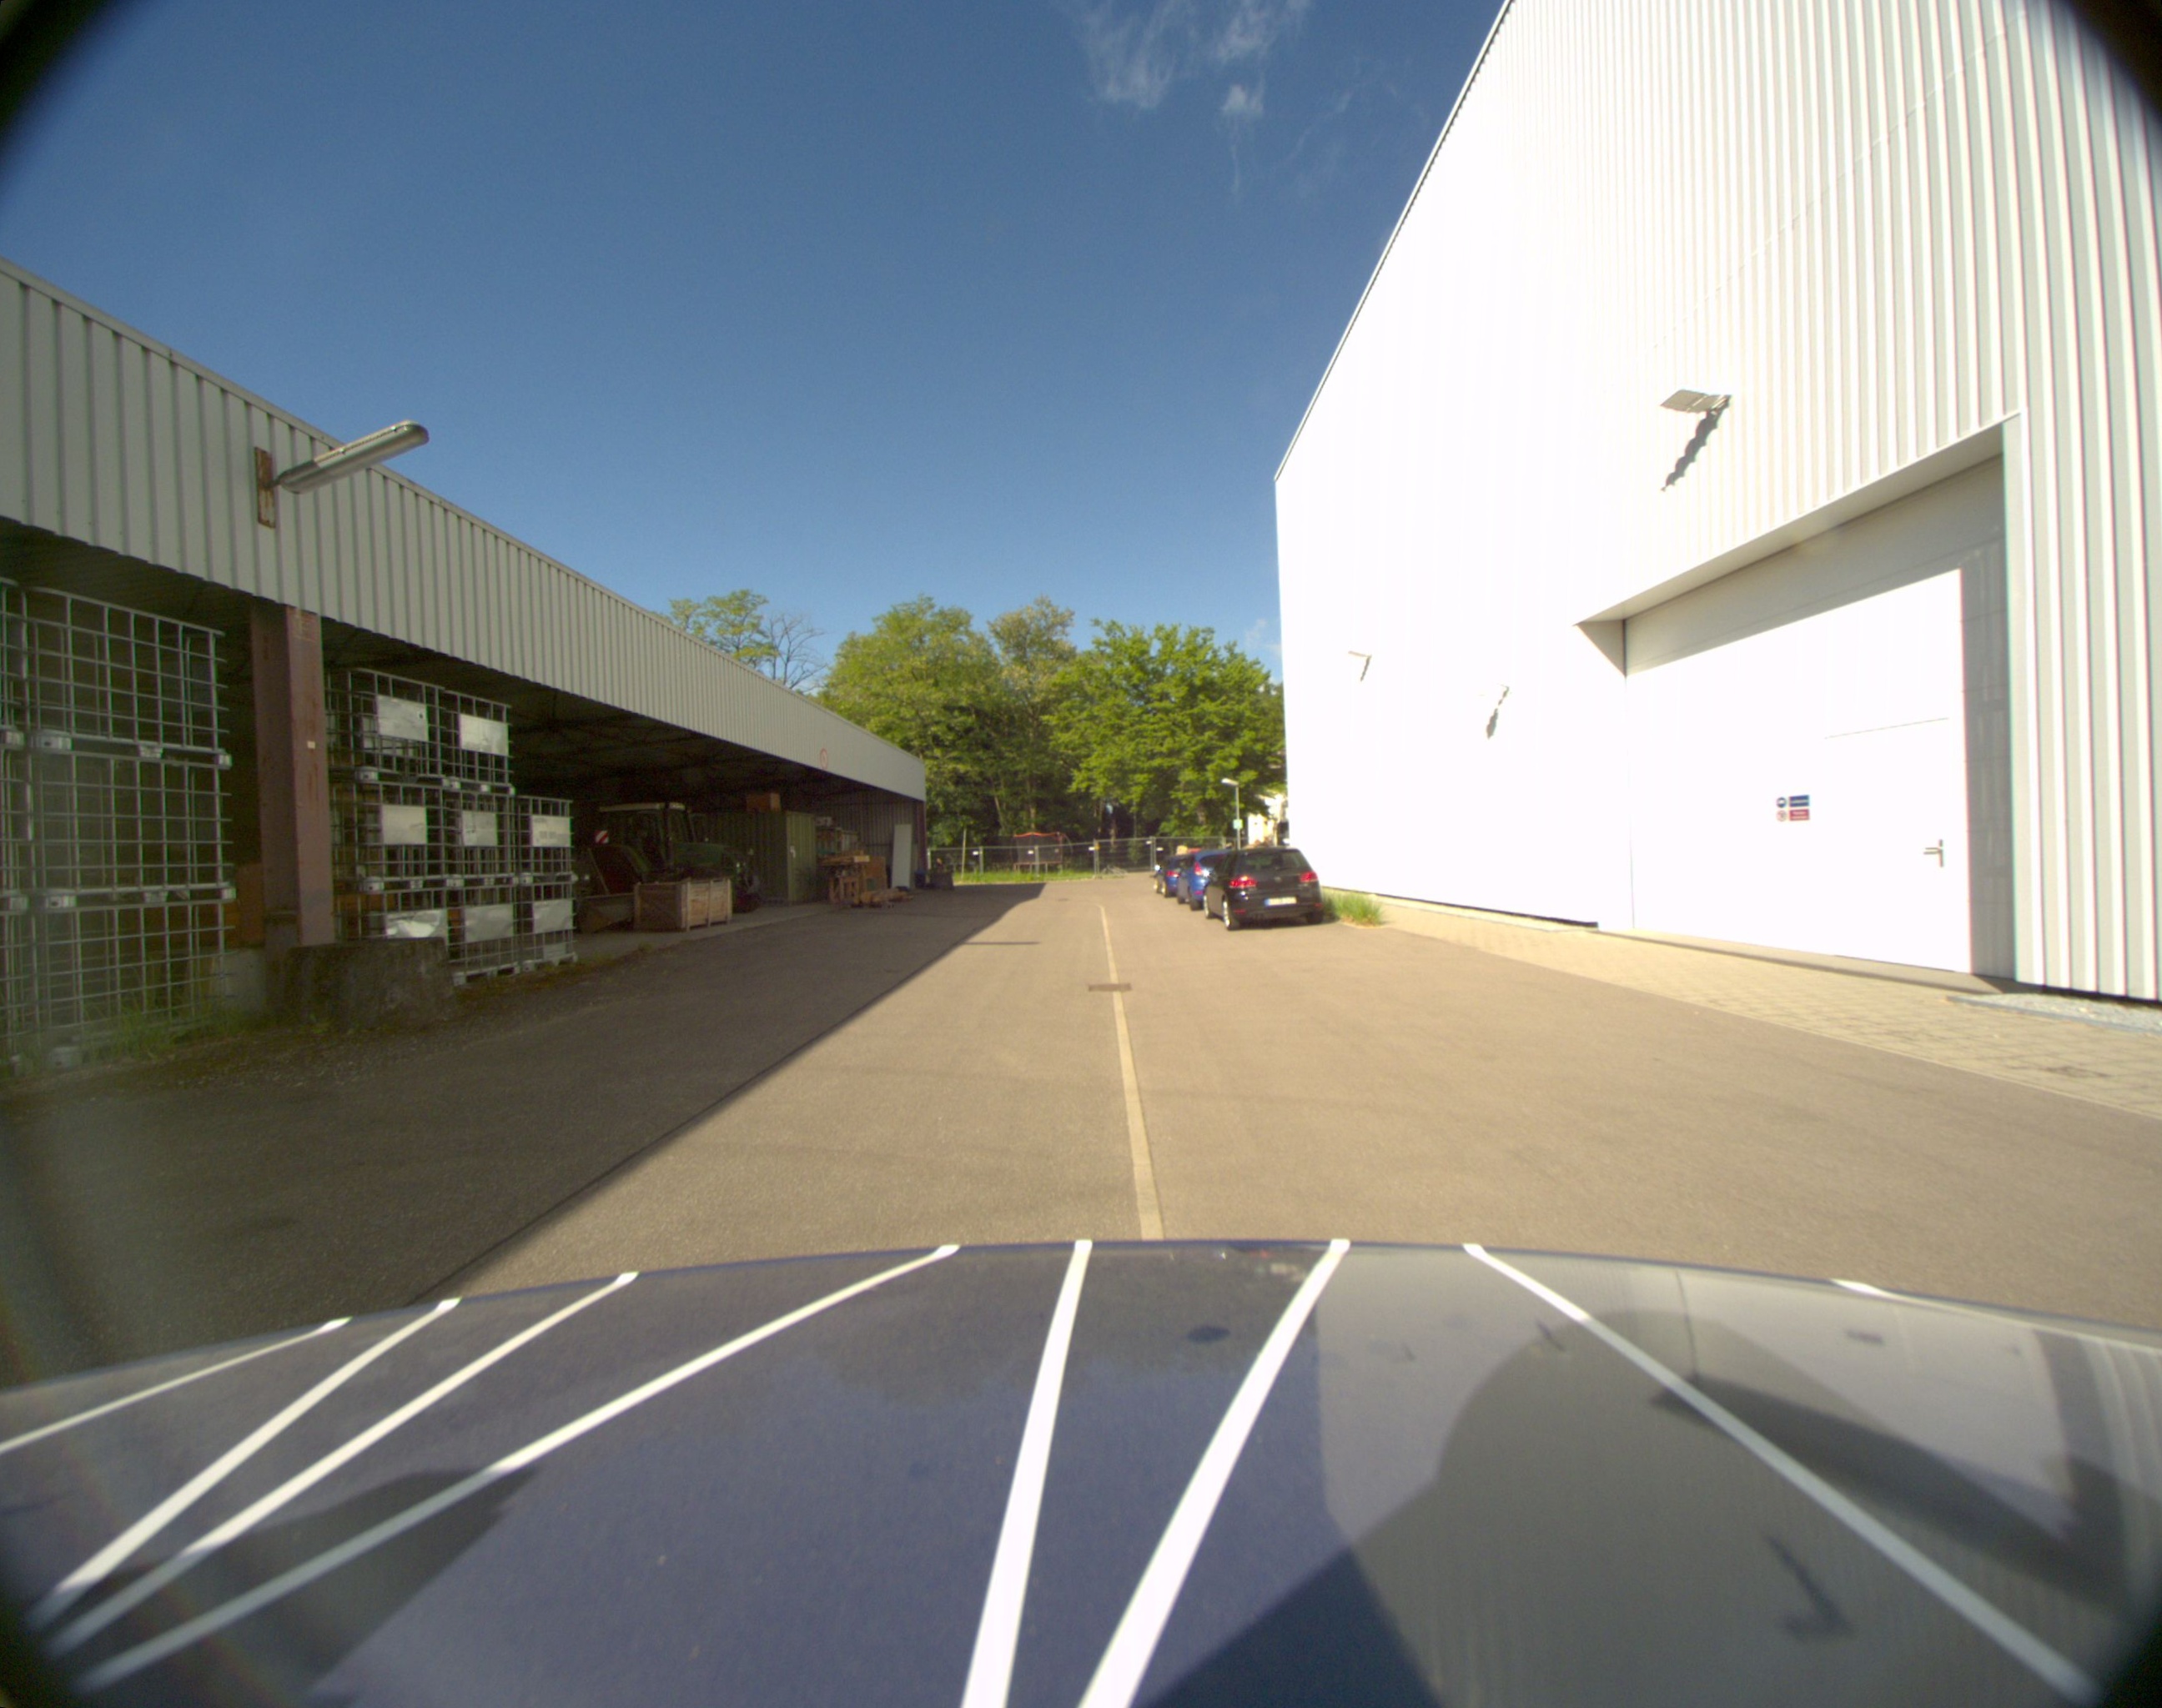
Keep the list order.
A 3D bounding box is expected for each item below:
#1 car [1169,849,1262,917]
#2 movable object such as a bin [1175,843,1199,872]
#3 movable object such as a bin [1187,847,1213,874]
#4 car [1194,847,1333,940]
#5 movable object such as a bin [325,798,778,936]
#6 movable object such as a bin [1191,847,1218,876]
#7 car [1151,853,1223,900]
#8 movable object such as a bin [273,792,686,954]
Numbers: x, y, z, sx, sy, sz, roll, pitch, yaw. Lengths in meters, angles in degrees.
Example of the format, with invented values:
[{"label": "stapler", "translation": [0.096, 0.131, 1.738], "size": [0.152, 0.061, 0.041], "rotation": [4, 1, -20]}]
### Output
[{"label": "car", "translation": [3.431, 0.676, 20.100], "size": [1.635, 1.491, 4.094], "rotation": [-5, 0, 0]}, {"label": "movable object such as a bin", "translation": [6.164, 0.207, 44.227], "size": [1.093, 1.588, 1.230], "rotation": [-3, 3, -5]}, {"label": "movable object such as a bin", "translation": [6.619, 0.348, 42.328], "size": [1.093, 1.431, 1.230], "rotation": [-4, 2, -5]}, {"label": "car", "translation": [3.456, 0.660, 15.202], "size": [1.759, 1.491, 4.294], "rotation": [-4, 0, 1]}, {"label": "movable object such as a bin", "translation": [-12.992, 0.303, 19.271], "size": [9.214, 2.893, 3.212], "rotation": [-2, 1, 2]}, {"label": "movable object such as a bin", "translation": [6.642, 0.391, 40.995], "size": [1.093, 1.424, 1.230], "rotation": [-4, 2, -5]}, {"label": "car", "translation": [3.469, 0.696, 25.548], "size": [1.778, 1.353, 4.053], "rotation": [-3, 0, 0]}, {"label": "movable object such as a bin", "translation": [-12.232, 0.364, 15.956], "size": [6.200, 2.893, 3.016], "rotation": [-2, 1, 2]}]
